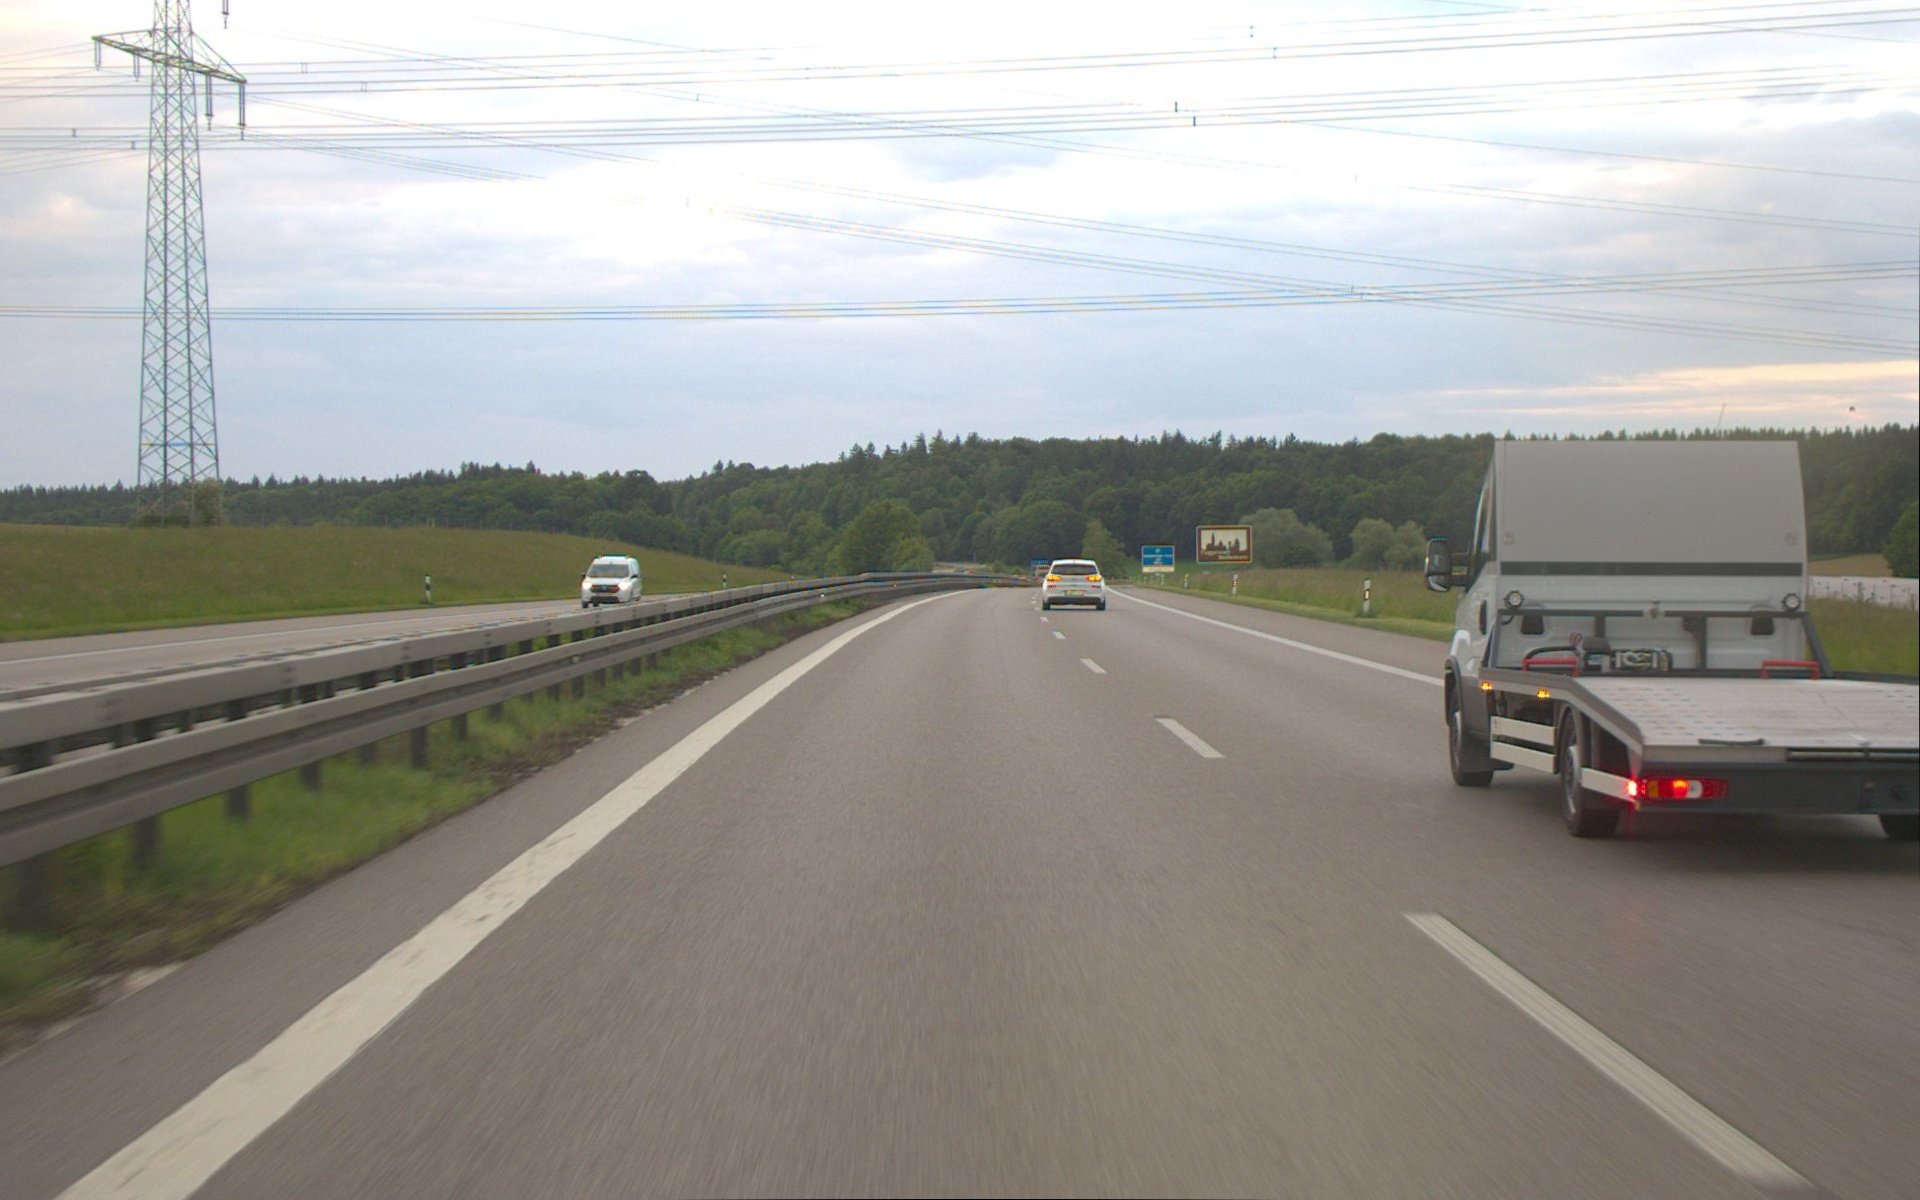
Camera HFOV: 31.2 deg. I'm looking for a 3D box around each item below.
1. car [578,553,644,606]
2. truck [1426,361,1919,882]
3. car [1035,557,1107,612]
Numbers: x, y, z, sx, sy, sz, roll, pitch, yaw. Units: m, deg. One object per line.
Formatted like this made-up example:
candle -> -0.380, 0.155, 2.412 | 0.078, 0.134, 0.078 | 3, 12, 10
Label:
car -> -12.204, -0.733, 120.387 | 1.760, 1.796, 4.994 | -1, 1, 0
truck -> 4.263, 0.059, 19.519 | 2.172, 2.352, 7.696 | 1, 1, 0
car -> 3.176, -0.465, 99.054 | 1.951, 1.526, 4.080 | 1, 1, 0
